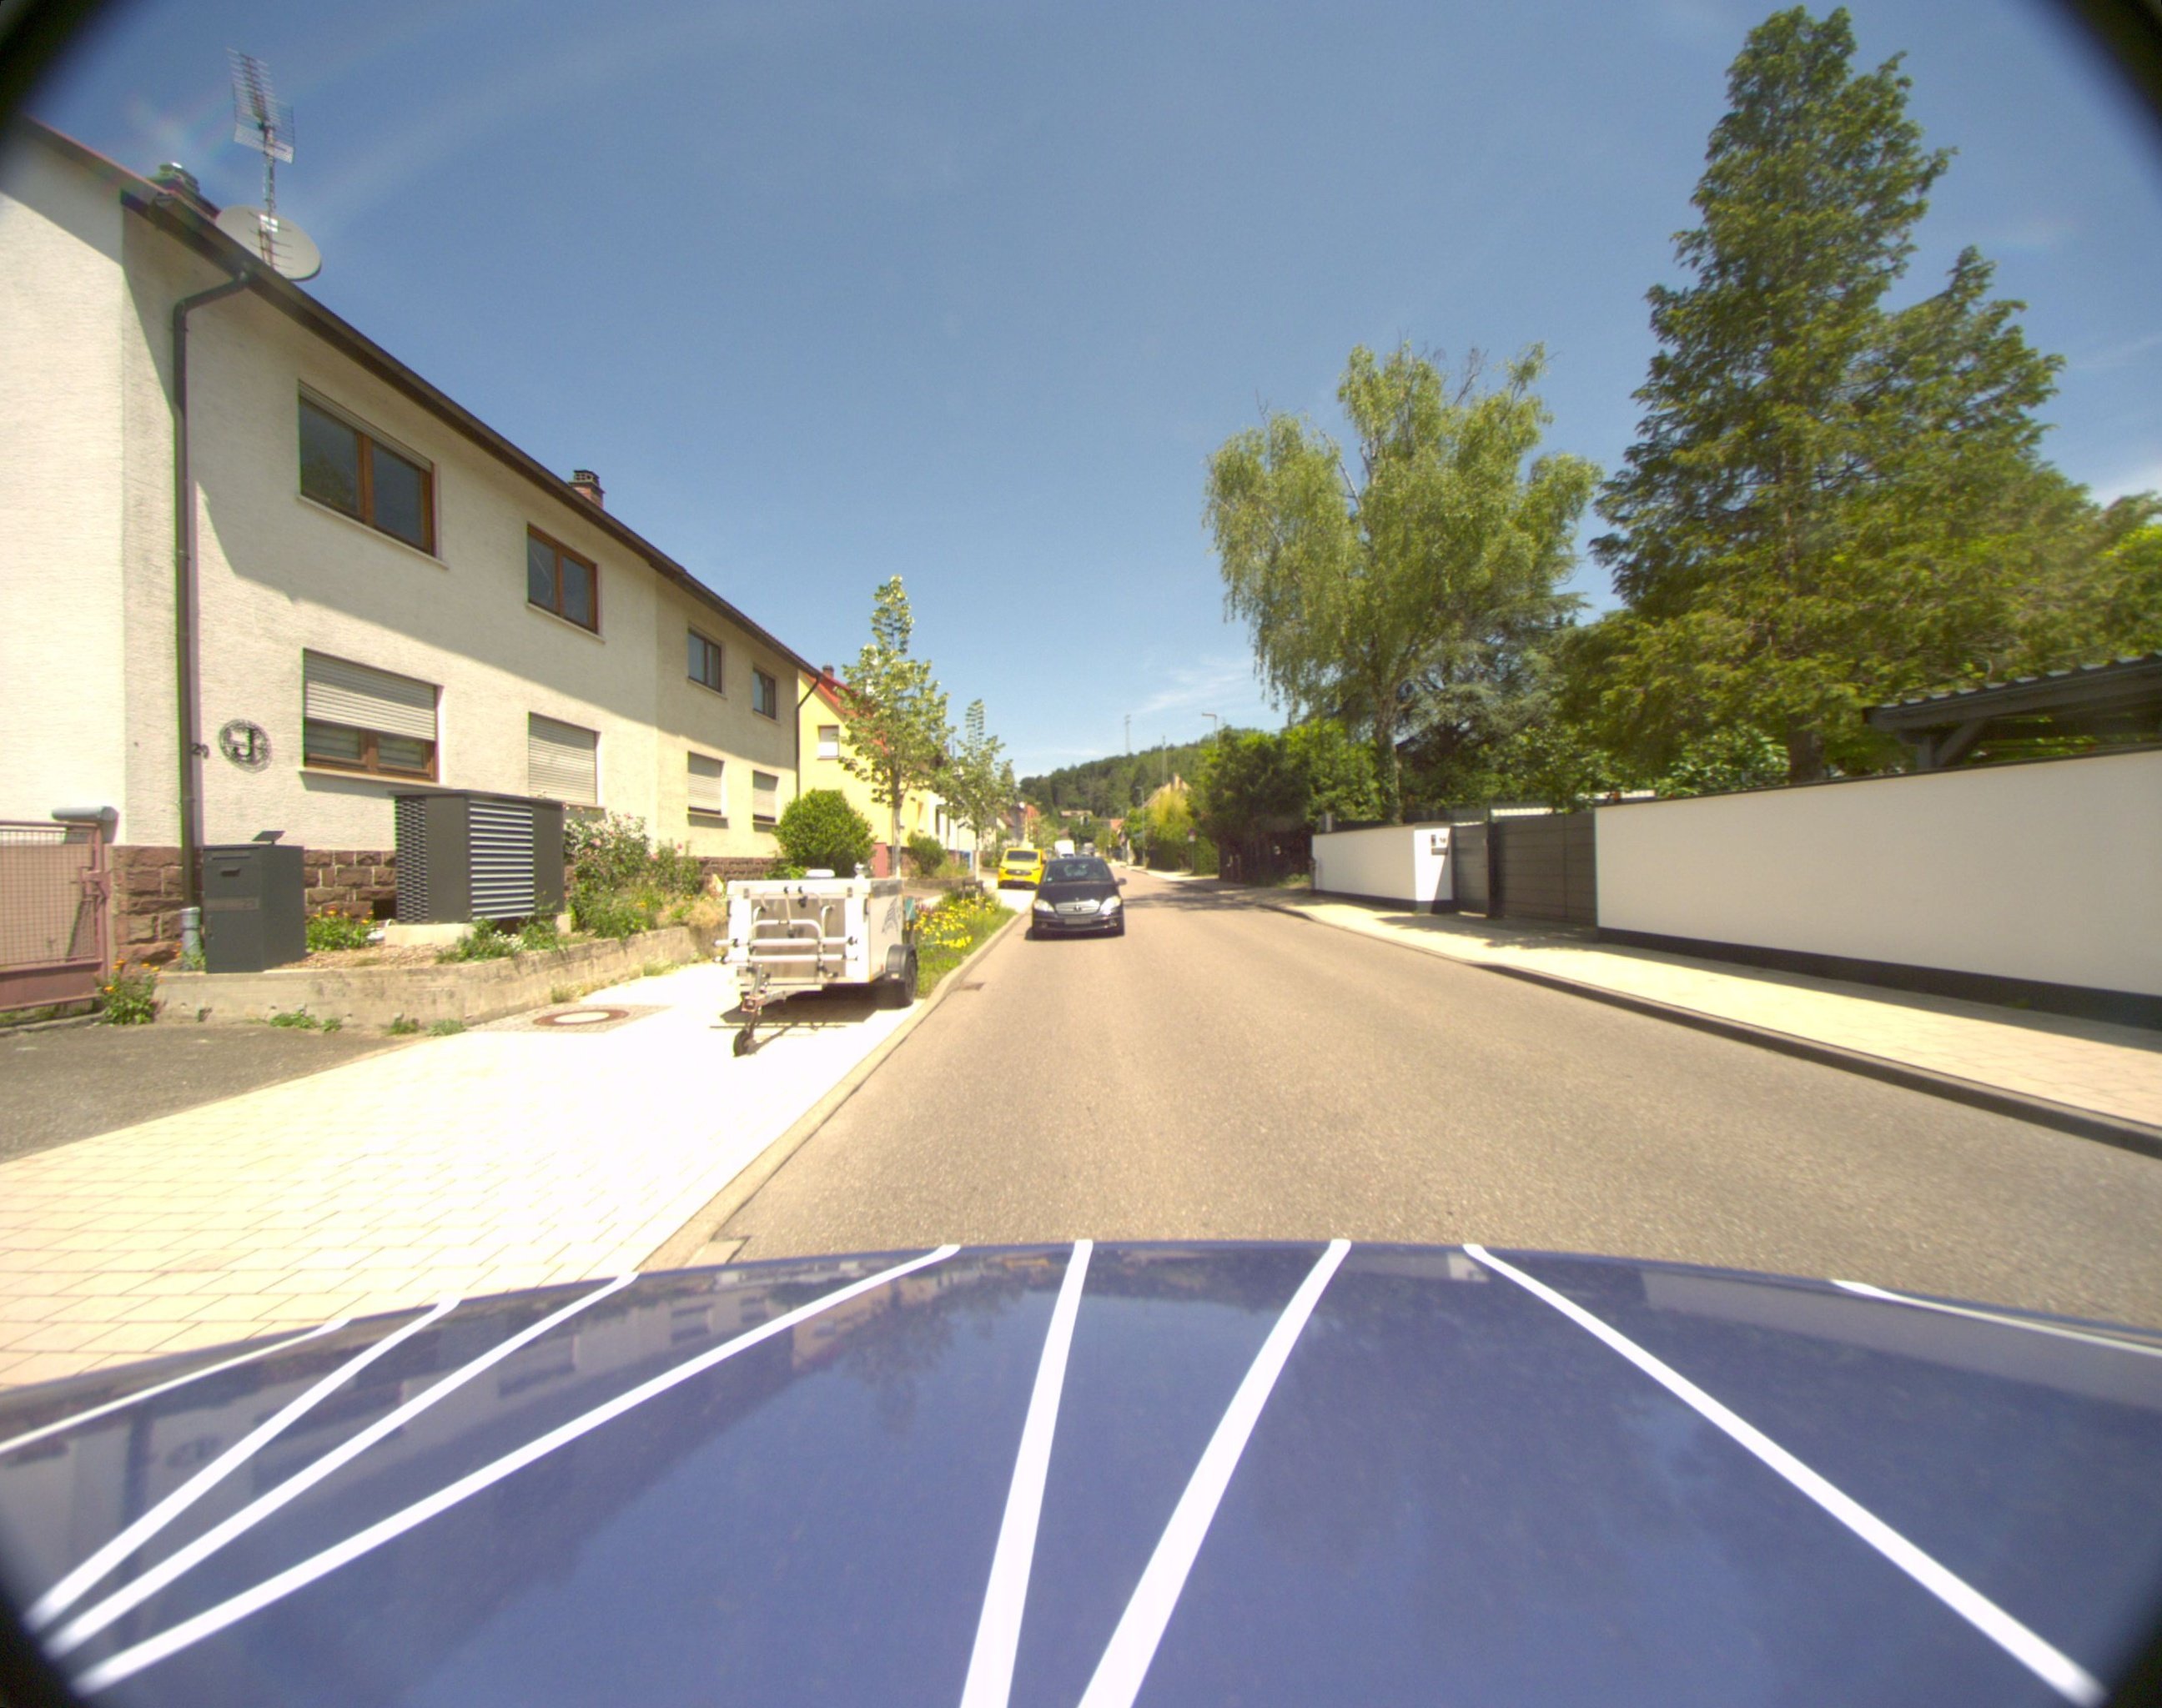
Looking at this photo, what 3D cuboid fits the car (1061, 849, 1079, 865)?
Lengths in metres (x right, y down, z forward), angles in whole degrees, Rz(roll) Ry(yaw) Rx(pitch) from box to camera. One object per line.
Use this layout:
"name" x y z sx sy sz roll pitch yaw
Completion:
"car" -1.289 0.292 86.948 1.999 1.716 3.999 -3 1 -1

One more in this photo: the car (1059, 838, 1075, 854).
"car" -2.010 -1.197 109.447 1.987 2.170 3.999 -3 1 0

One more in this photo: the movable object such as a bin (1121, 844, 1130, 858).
"movable object such as a bin" 6.611 -0.467 112.987 1.062 2.002 1.322 -3 2 0

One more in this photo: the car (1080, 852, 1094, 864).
"car" 0.881 0.554 112.849 1.872 1.643 3.948 -3 0 -1

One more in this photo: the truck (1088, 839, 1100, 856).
"truck" 2.814 -1.389 165.284 2.548 3.716 8.621 -1 1 1

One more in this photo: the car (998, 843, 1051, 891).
"car" -2.658 0.546 37.117 2.195 2.002 5.621 3 1 -1

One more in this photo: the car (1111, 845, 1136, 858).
"car" 6.604 -0.343 118.887 3.606 1.780 1.847 -3 1 -1

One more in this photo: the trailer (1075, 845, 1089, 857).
"trailer" 0.117 -0.525 131.589 2.161 1.975 6.199 -3 1 -2

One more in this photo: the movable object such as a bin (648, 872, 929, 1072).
"movable object such as a bin" -2.565 0.950 7.412 1.576 1.408 3.040 -1 1 -1

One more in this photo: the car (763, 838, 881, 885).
"car" -10.188 0.290 30.091 3.998 1.667 1.873 2 1 -3

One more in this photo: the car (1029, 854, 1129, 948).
"car" 0.003 0.869 16.496 1.767 1.572 4.930 -3 1 1
